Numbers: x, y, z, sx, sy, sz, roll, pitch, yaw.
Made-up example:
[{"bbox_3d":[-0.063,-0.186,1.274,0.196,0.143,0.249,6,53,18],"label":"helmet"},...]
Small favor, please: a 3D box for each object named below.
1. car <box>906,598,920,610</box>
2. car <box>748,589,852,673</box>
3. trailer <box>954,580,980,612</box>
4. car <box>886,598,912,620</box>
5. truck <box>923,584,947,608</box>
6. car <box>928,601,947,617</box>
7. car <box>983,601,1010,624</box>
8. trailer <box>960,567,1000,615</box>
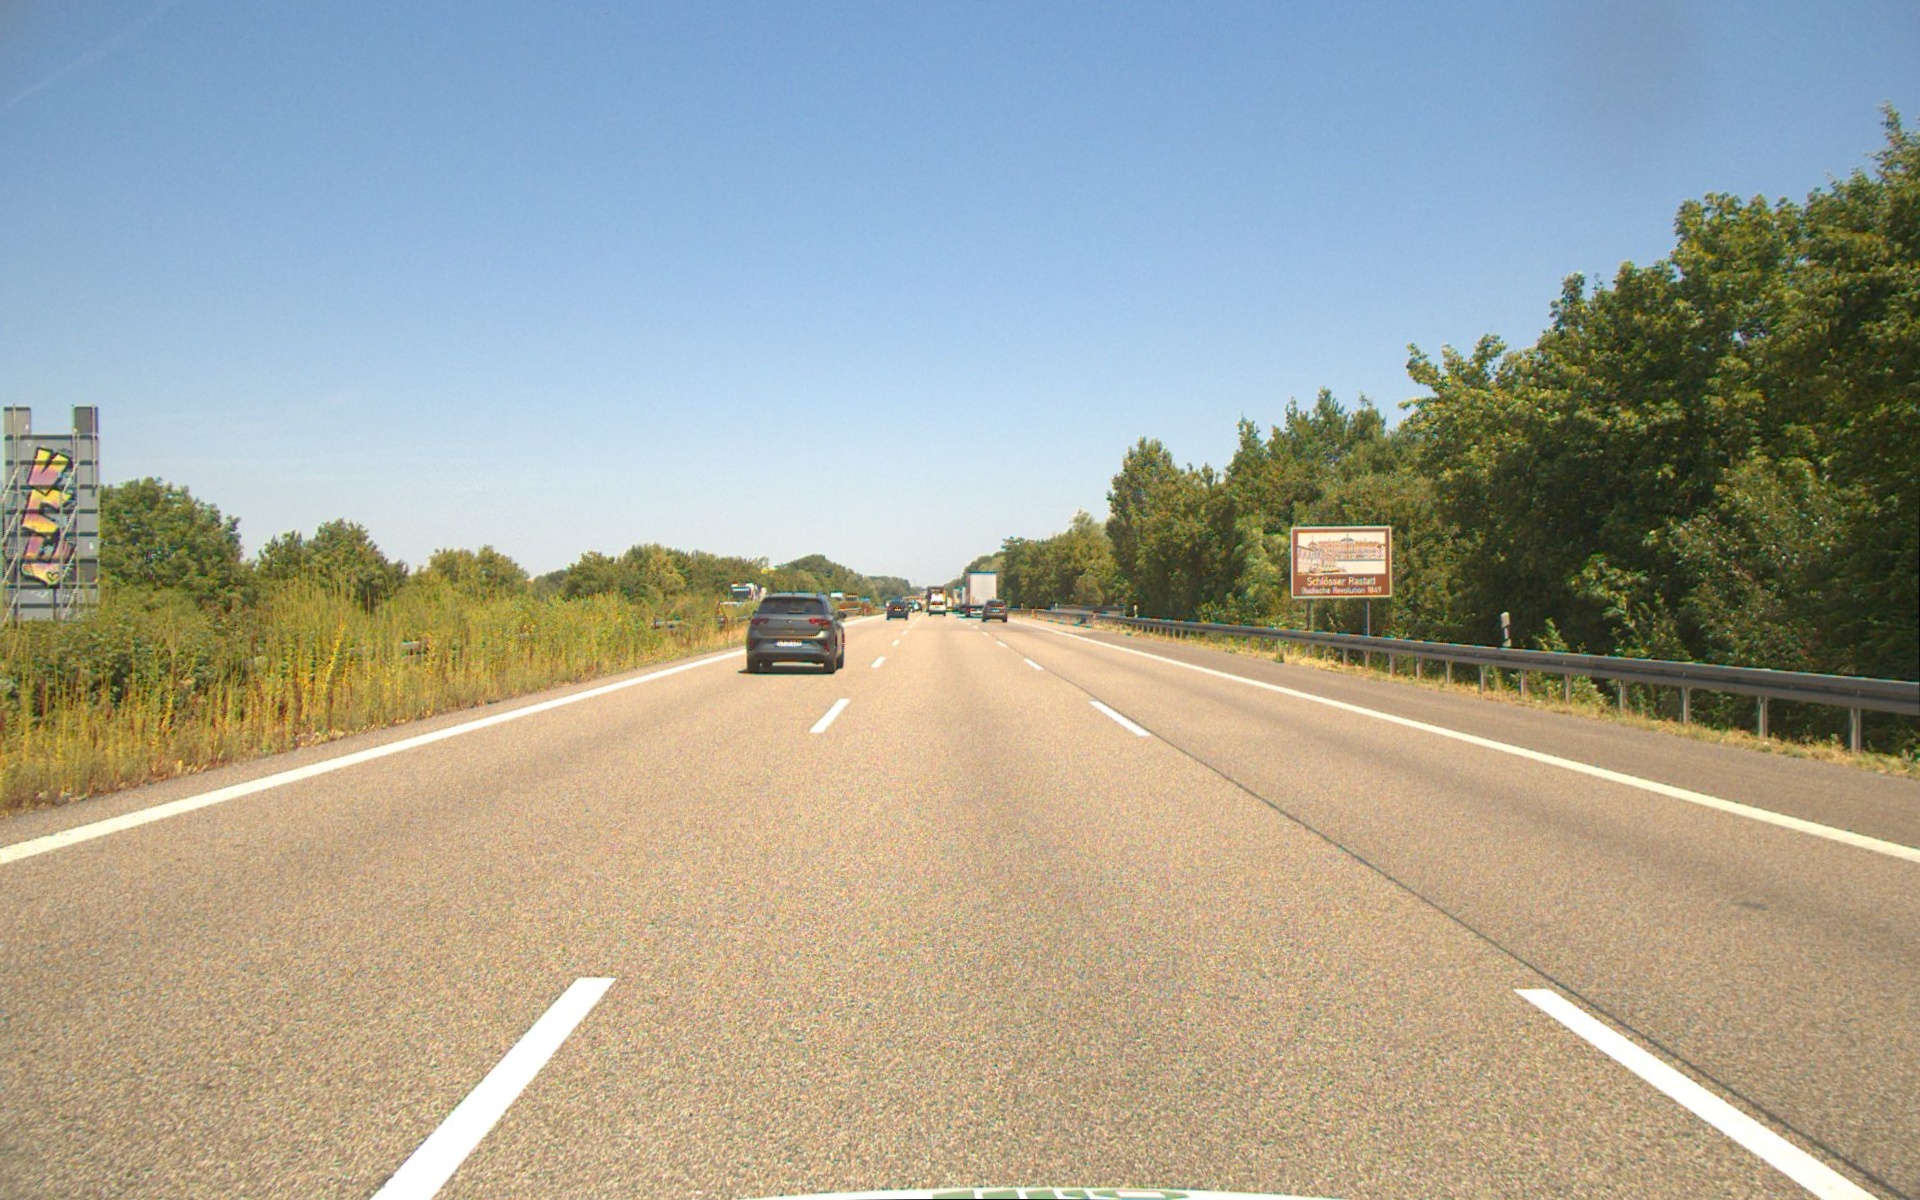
[{"bbox_3d":[-6.626,0.566,233.964,1.869,1.557,4.284,1,0,-1],"label":"car"},{"bbox_3d":[-3.190,0.584,33.625,1.723,1.557,4.284,1,0,-1],"label":"car"},{"bbox_3d":[0.892,-0.578,217.007,3.059,3.995,9.933,1,0,-2],"label":"trailer"},{"bbox_3d":[-4.669,0.695,126.499,1.862,1.557,4.083,1,0,-1],"label":"car"},{"bbox_3d":[-4.008,-0.620,262.607,3.592,3.791,7.108,1,0,0],"label":"truck"},{"bbox_3d":[-2.316,0.875,168.978,1.862,1.557,4.083,1,0,-1],"label":"car"},{"bbox_3d":[2.680,0.917,122.265,1.807,1.657,4.134,0,0,-1],"label":"car"},{"bbox_3d":[1.815,-0.782,155.698,3.365,4.254,13.629,1,-1,-1],"label":"trailer"}]
